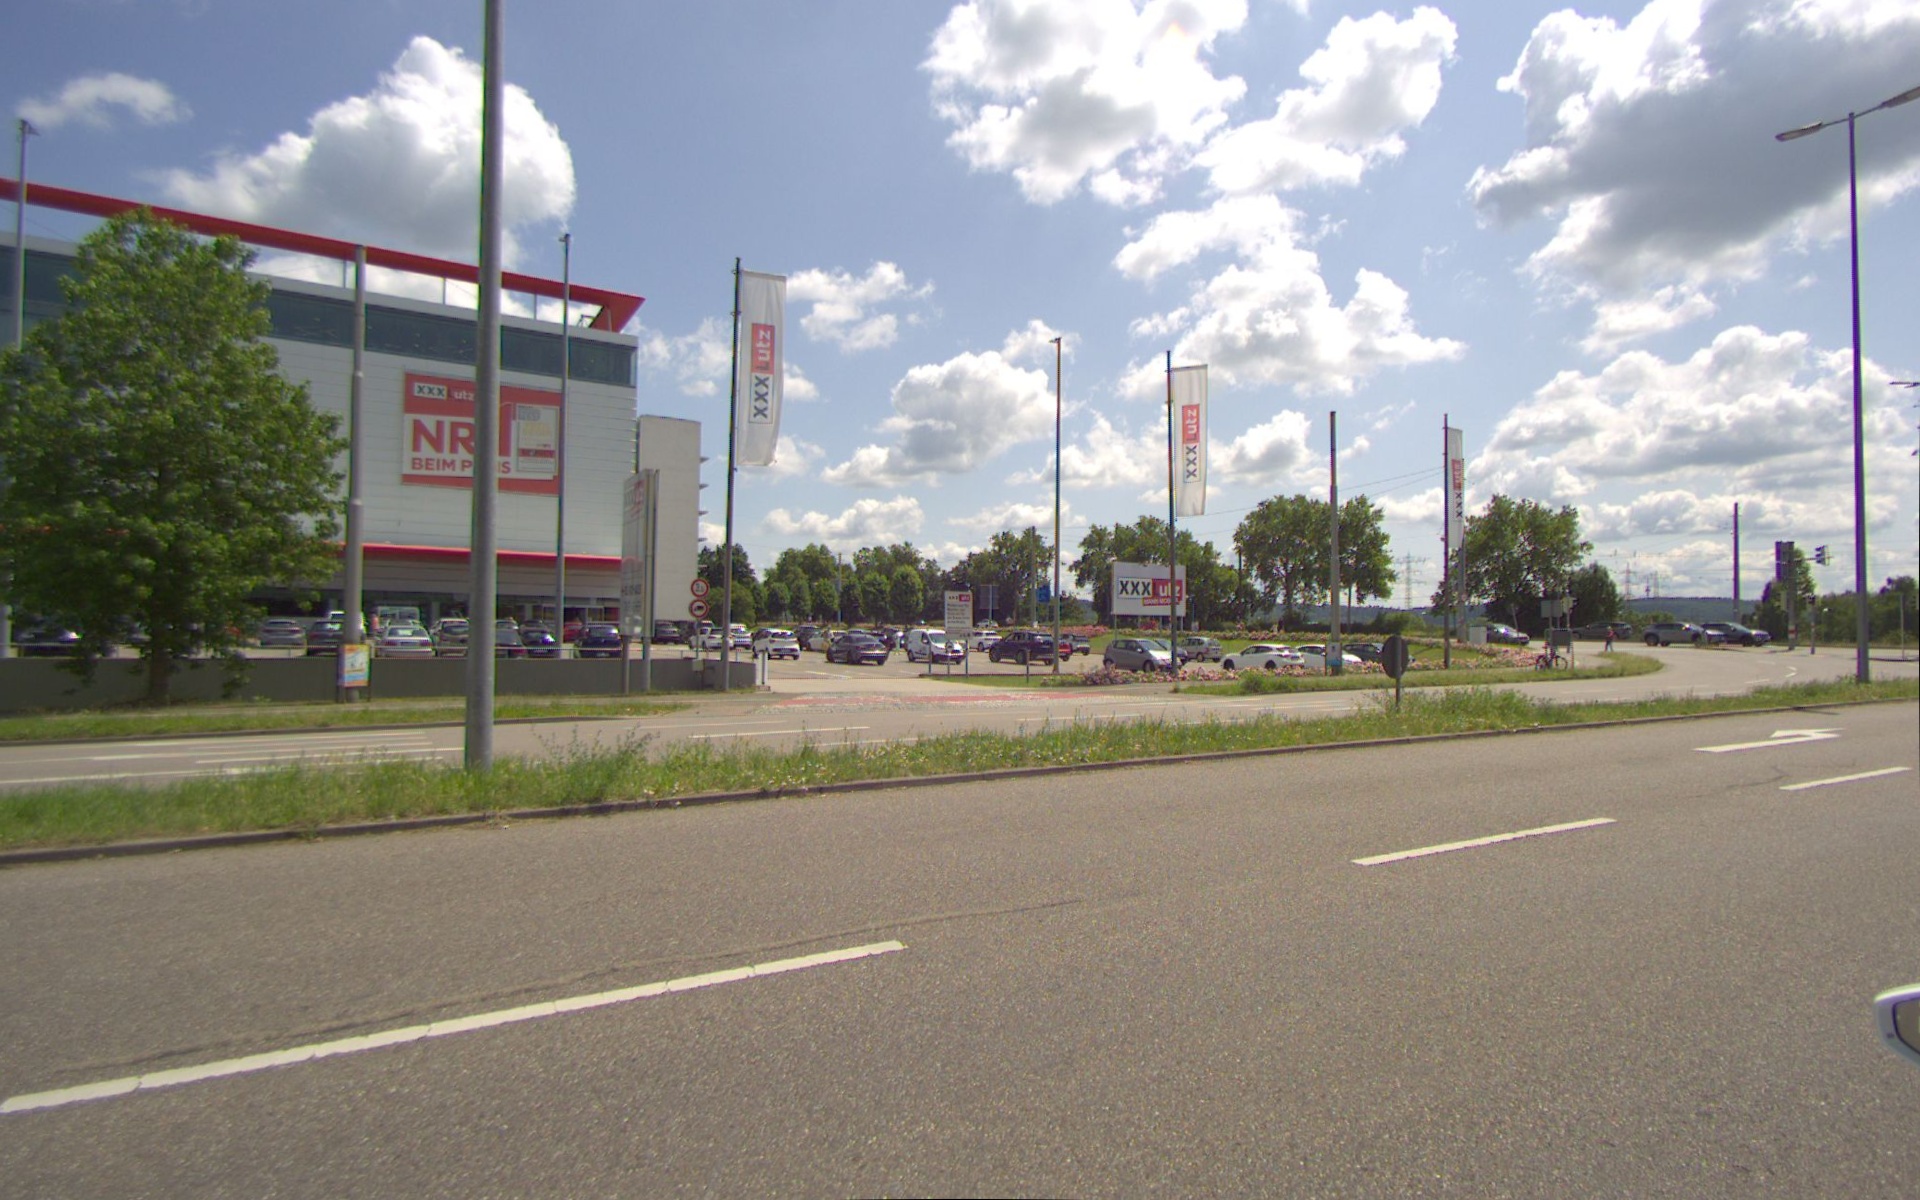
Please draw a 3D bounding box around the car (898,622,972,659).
[{"bbox_3d":[-1.353,2.108,52.358,1.977,1.863,4.328,1,-3,-31],"label":"car"}]

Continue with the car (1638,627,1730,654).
[{"bbox_3d":[47.028,2.663,65.376,1.882,1.696,4.484,2,-4,-30],"label":"car"}]

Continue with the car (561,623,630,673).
[{"bbox_3d":[-15.691,2.023,43.096,1.977,2.015,4.327,1,-1,-31],"label":"car"}]

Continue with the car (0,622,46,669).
[{"bbox_3d":[-42.256,2.002,44.310,1.977,2.015,4.328,1,-3,-31],"label":"car"}]

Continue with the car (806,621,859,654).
[{"bbox_3d":[-8.253,2.416,64.673,1.977,2.015,4.053,1,-3,-31],"label":"car"}]

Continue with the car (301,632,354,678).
[{"bbox_3d":[-26.896,2.293,42.803,1.757,1.854,4.328,1,-3,-31],"label":"car"}]

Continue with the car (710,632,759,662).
[{"bbox_3d":[-14.952,3.077,66.447,1.977,1.906,4.328,1,-3,-31],"label":"car"}]

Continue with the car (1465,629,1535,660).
[{"bbox_3d":[36.733,3.046,68.438,1.966,2.040,3.990,0,-2,-14],"label":"car"}]

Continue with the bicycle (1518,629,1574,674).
[{"bbox_3d":[22.808,1.987,39.101,2.024,1.697,1.013,1,-2,-31],"label":"bicycle"}]

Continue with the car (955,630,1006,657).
[{"bbox_3d":[1.524,3.305,77.188,1.977,2.015,4.328,1,-3,-31],"label":"car"}]

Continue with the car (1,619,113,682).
[{"bbox_3d":[-30.917,1.722,34.546,1.977,2.015,4.328,1,-3,-31],"label":"car"}]

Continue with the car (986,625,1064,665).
[{"bbox_3d":[3.475,2.423,54.355,1.977,2.015,4.559,2,-2,-31],"label":"car"}]

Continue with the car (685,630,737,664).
[{"bbox_3d":[-15.309,2.847,61.614,1.977,2.015,4.328,1,-3,-31],"label":"car"}]

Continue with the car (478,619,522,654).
[{"bbox_3d":[-27.502,2.158,60.014,1.977,2.040,3.968,1,-2,-31],"label":"car"}]

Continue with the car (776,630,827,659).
[{"bbox_3d":[-10.917,3.014,68.856,1.977,1.906,4.328,1,-3,-31],"label":"car"}]

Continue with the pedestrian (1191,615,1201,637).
[{"bbox_3d":[21.485,2.380,91.405,0.761,2.040,0.566,0,-2,-10],"label":"pedestrian"}]

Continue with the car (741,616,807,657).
[{"bbox_3d":[-9.772,1.938,52.574,1.977,2.015,4.328,3,-3,-31],"label":"car"}]

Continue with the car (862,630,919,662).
[{"bbox_3d":[-4.582,2.977,65.623,1.977,2.015,4.328,1,-3,-31],"label":"car"}]

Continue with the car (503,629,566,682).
[{"bbox_3d":[-17.842,2.269,42.022,1.822,2.015,4.051,2,-1,-31],"label":"car"}]

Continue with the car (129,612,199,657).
[{"bbox_3d":[-37.682,1.663,47.662,1.977,2.015,4.328,1,-3,-31],"label":"car"}]

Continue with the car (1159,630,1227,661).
[{"bbox_3d":[15.565,3.035,67.333,1.977,2.015,4.328,1,-3,-31],"label":"car"}]

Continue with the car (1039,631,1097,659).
[{"bbox_3d":[8.091,3.369,75.730,2.224,2.015,4.328,1,-3,-31],"label":"car"}]

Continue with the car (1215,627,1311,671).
[{"bbox_3d":[14.741,2.366,49.030,1.977,2.015,4.328,1,-3,-31],"label":"car"}]

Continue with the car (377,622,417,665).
[{"bbox_3d":[-32.178,2.487,57.355,1.848,2.336,4.534,1,-3,-31],"label":"car"}]

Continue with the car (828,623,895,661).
[{"bbox_3d":[-5.359,2.273,54.443,1.977,2.015,4.328,1,-3,-31],"label":"car"}]

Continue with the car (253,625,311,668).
[{"bbox_3d":[-33.760,2.314,50.133,1.976,2.015,4.330,1,-3,-29],"label":"car"}]

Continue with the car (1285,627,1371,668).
[{"bbox_3d":[19.029,2.454,52.078,1.974,2.040,3.974,1,-2,-26],"label":"car"}]

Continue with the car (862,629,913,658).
[{"bbox_3d":[-5.322,3.169,73.451,1.977,2.015,4.328,1,-3,-31],"label":"car"}]

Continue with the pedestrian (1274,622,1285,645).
[{"bbox_3d":[25.218,2.668,79.350,0.588,1.834,0.532,0,-2,-20],"label":"pedestrian"}]

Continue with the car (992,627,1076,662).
[{"bbox_3d":[4.458,2.695,61.390,1.985,2.015,5.244,2,-3,-42],"label":"car"}]

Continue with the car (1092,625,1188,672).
[{"bbox_3d":[8.158,2.204,45.860,1.977,2.015,4.328,1,-3,-31],"label":"car"}]

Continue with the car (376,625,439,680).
[{"bbox_3d":[-21.623,2.028,39.228,1.977,2.015,4.328,1,-3,-31],"label":"car"}]

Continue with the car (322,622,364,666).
[{"bbox_3d":[-34.525,2.444,56.306,1.848,2.336,4.534,1,-3,-31],"label":"car"}]

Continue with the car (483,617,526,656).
[{"bbox_3d":[-24.997,1.974,55.091,1.757,2.040,3.968,1,-2,-30],"label":"car"}]

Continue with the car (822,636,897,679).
[{"bbox_3d":[-4.945,2.762,48.857,1.977,2.015,4.328,1,-3,-31],"label":"car"}]

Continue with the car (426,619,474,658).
[{"bbox_3d":[-27.464,2.072,54.044,1.977,2.015,4.328,2,-3,-31],"label":"car"}]

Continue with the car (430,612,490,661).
[{"bbox_3d":[-22.383,1.639,44.895,1.978,2.040,4.788,1,-3,-31],"label":"car"}]

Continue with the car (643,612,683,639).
[{"bbox_3d":[-22.682,1.964,76.619,1.977,2.015,4.328,1,-3,-31],"label":"car"}]

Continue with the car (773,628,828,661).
[{"bbox_3d":[-10.053,2.789,63.260,1.977,2.015,4.328,1,-3,-31],"label":"car"}]

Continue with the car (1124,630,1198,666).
[{"bbox_3d":[11.821,2.802,59.351,1.977,2.015,4.328,1,-3,-31],"label":"car"}]

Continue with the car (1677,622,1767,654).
[{"bbox_3d":[50.497,2.532,66.638,1.977,2.015,4.328,1,-3,-31],"label":"car"}]

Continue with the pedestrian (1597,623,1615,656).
[{"bbox_3d":[37.767,2.295,58.717,0.784,1.862,0.865,2,0,31],"label":"pedestrian"}]
